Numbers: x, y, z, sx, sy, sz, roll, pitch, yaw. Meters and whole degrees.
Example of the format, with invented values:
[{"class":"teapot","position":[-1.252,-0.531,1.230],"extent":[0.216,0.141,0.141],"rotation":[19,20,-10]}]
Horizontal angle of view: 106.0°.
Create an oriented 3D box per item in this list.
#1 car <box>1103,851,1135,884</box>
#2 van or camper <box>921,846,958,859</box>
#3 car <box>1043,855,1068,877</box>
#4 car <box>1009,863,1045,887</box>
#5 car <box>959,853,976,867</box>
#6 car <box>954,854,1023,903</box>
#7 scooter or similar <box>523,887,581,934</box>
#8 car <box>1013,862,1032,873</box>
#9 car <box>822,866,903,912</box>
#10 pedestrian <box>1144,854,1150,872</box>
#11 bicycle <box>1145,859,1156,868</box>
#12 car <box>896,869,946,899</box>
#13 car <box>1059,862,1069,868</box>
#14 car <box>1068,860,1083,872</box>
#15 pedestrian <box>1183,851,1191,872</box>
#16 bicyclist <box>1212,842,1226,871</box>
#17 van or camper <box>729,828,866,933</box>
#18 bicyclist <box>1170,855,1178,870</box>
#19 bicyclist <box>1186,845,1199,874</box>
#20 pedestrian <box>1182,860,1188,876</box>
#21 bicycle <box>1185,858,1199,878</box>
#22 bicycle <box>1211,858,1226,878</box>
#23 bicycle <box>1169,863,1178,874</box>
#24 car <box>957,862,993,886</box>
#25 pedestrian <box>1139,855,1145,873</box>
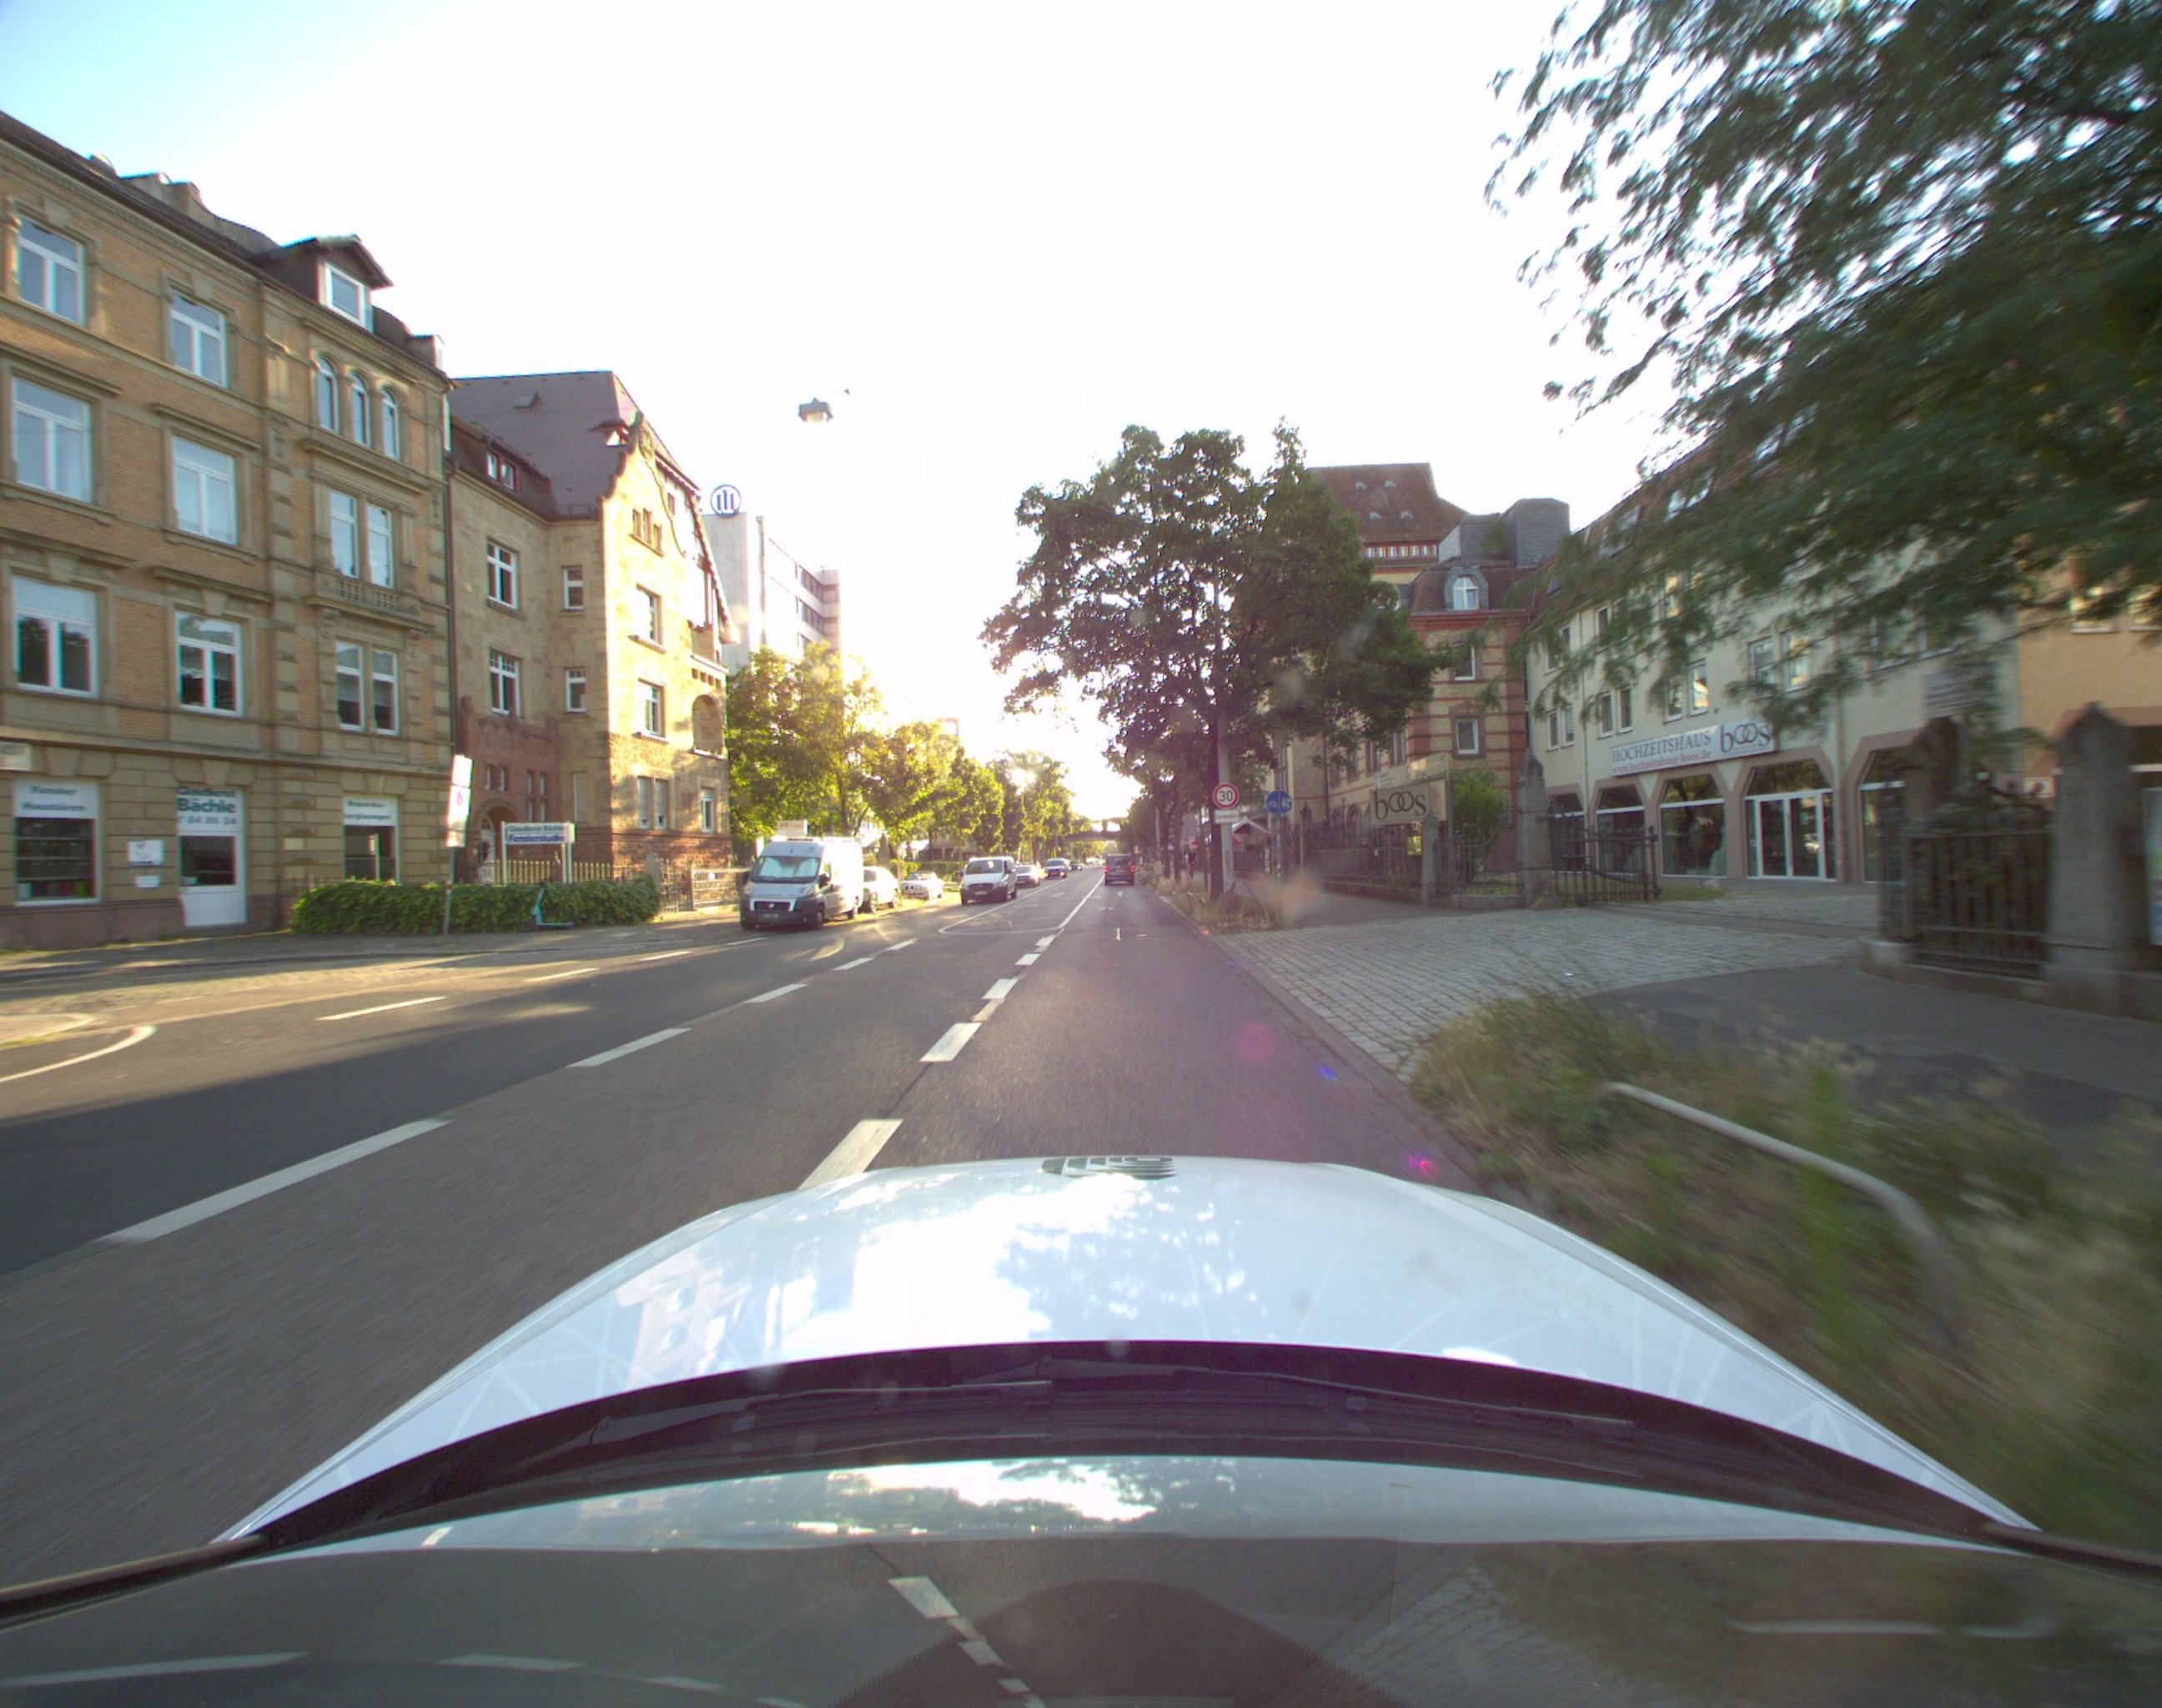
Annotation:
[{"class":"car","position":[2.450,0.812,51.545],"extent":[1.879,1.925,3.843],"rotation":[-2,0,3]},{"class":"van or camper","position":[-26.963,-0.224,155.050],"extent":[6.540,2.522,2.449],"rotation":[0,0,0]},{"class":"car","position":[-2.180,1.030,71.681],"extent":[1.826,1.853,4.475],"rotation":[-3,0,1]},{"class":"car","position":[-3.438,1.320,52.163],"extent":[1.752,1.386,4.307],"rotation":[-3,0,2]},{"class":"car","position":[-19.055,0.927,136.981],"extent":[1.985,2.308,5.248],"rotation":[0,0,3]},{"class":"car","position":[-3.865,0.990,35.032],"extent":[1.985,1.831,5.174],"rotation":[-3,0,3]},{"class":"scooter or similar","position":[-13.111,1.384,20.191],"extent":[0.285,1.057,1.124],"rotation":[-3,-1,45]},{"class":"car","position":[-7.438,1.734,103.731],"extent":[1.985,1.414,4.240],"rotation":[0,0,3]},{"class":"car","position":[-8.075,1.242,30.496],"extent":[1.740,1.535,4.304],"rotation":[0,0,2]},{"class":"pedestrian","position":[7.006,0.943,86.173],"extent":[0.505,1.889,0.543],"rotation":[0,-1,-12]},{"class":"bicycle","position":[7.421,1.019,87.031],"extent":[0.590,0.897,1.976],"rotation":[0,0,-17]},{"class":"car","position":[-7.414,1.365,37.999],"extent":[1.530,1.248,3.615],"rotation":[0,0,1]},{"class":"car","position":[-3.680,2.373,177.457],"extent":[1.985,1.414,4.240],"rotation":[0,0,3]},{"class":"car","position":[-0.746,1.650,113.529],"extent":[1.672,1.530,4.002],"rotation":[-3,0,2]},{"class":"pedestrian","position":[8.620,0.607,66.232],"extent":[0.642,1.633,0.656],"rotation":[0,-1,3]},{"class":"bicyclist","position":[7.189,0.127,42.423],"extent":[0.593,1.532,0.894],"rotation":[0,-1,2]},{"class":"van or camper","position":[-7.983,0.691,23.681],"extent":[1.988,2.669,6.034],"rotation":[0,0,-2]},{"class":"bicyclist","position":[7.719,0.717,67.851],"extent":[0.583,1.236,1.112],"rotation":[0,0,2]},{"class":"bicyclist","position":[5.894,0.281,43.095],"extent":[0.593,1.532,0.894],"rotation":[0,-1,2]},{"class":"pedestrian","position":[8.631,1.172,67.387],"extent":[0.465,1.350,0.530],"rotation":[0,-1,3]},{"class":"bicycle","position":[5.856,0.746,43.045],"extent":[0.542,1.040,2.090],"rotation":[0,0,2]},{"class":"bicycle","position":[7.185,0.712,42.565],"extent":[0.515,1.040,2.090],"rotation":[0,0,2]},{"class":"bicycle","position":[7.713,1.234,67.964],"extent":[0.577,0.897,1.988],"rotation":[0,0,3]},{"class":"car","position":[-6.835,1.260,52.681],"extent":[1.690,1.451,4.001],"rotation":[0,0,1]},{"class":"pedestrian","position":[6.491,1.077,86.676],"extent":[0.505,1.889,0.543],"rotation":[0,-1,-12]}]
